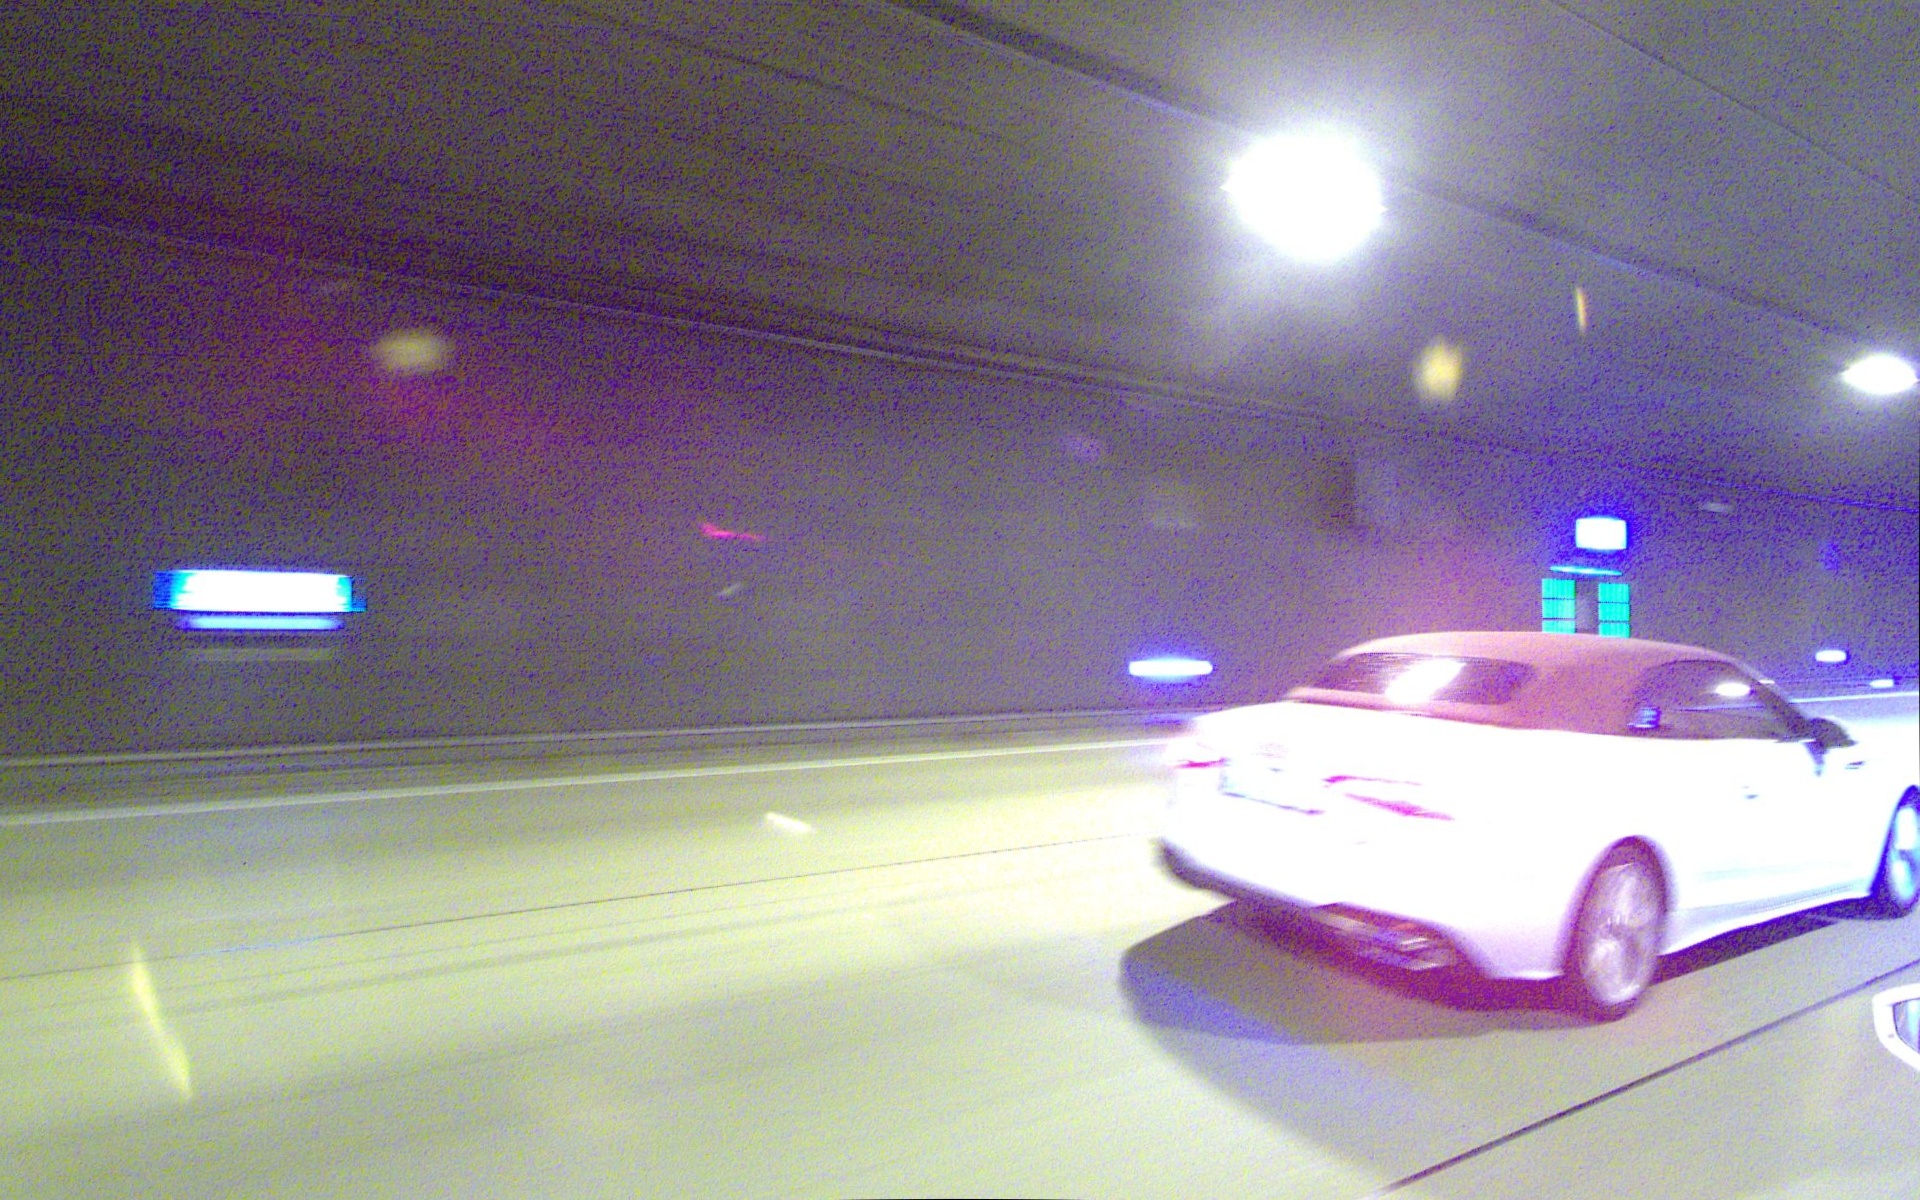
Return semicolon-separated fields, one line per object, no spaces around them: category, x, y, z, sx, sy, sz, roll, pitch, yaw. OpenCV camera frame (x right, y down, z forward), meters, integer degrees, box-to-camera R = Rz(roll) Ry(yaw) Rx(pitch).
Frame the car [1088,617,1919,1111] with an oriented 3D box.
car;3.139;0.848;5.011;5.002;1.438;1.693;1;-1;-31
